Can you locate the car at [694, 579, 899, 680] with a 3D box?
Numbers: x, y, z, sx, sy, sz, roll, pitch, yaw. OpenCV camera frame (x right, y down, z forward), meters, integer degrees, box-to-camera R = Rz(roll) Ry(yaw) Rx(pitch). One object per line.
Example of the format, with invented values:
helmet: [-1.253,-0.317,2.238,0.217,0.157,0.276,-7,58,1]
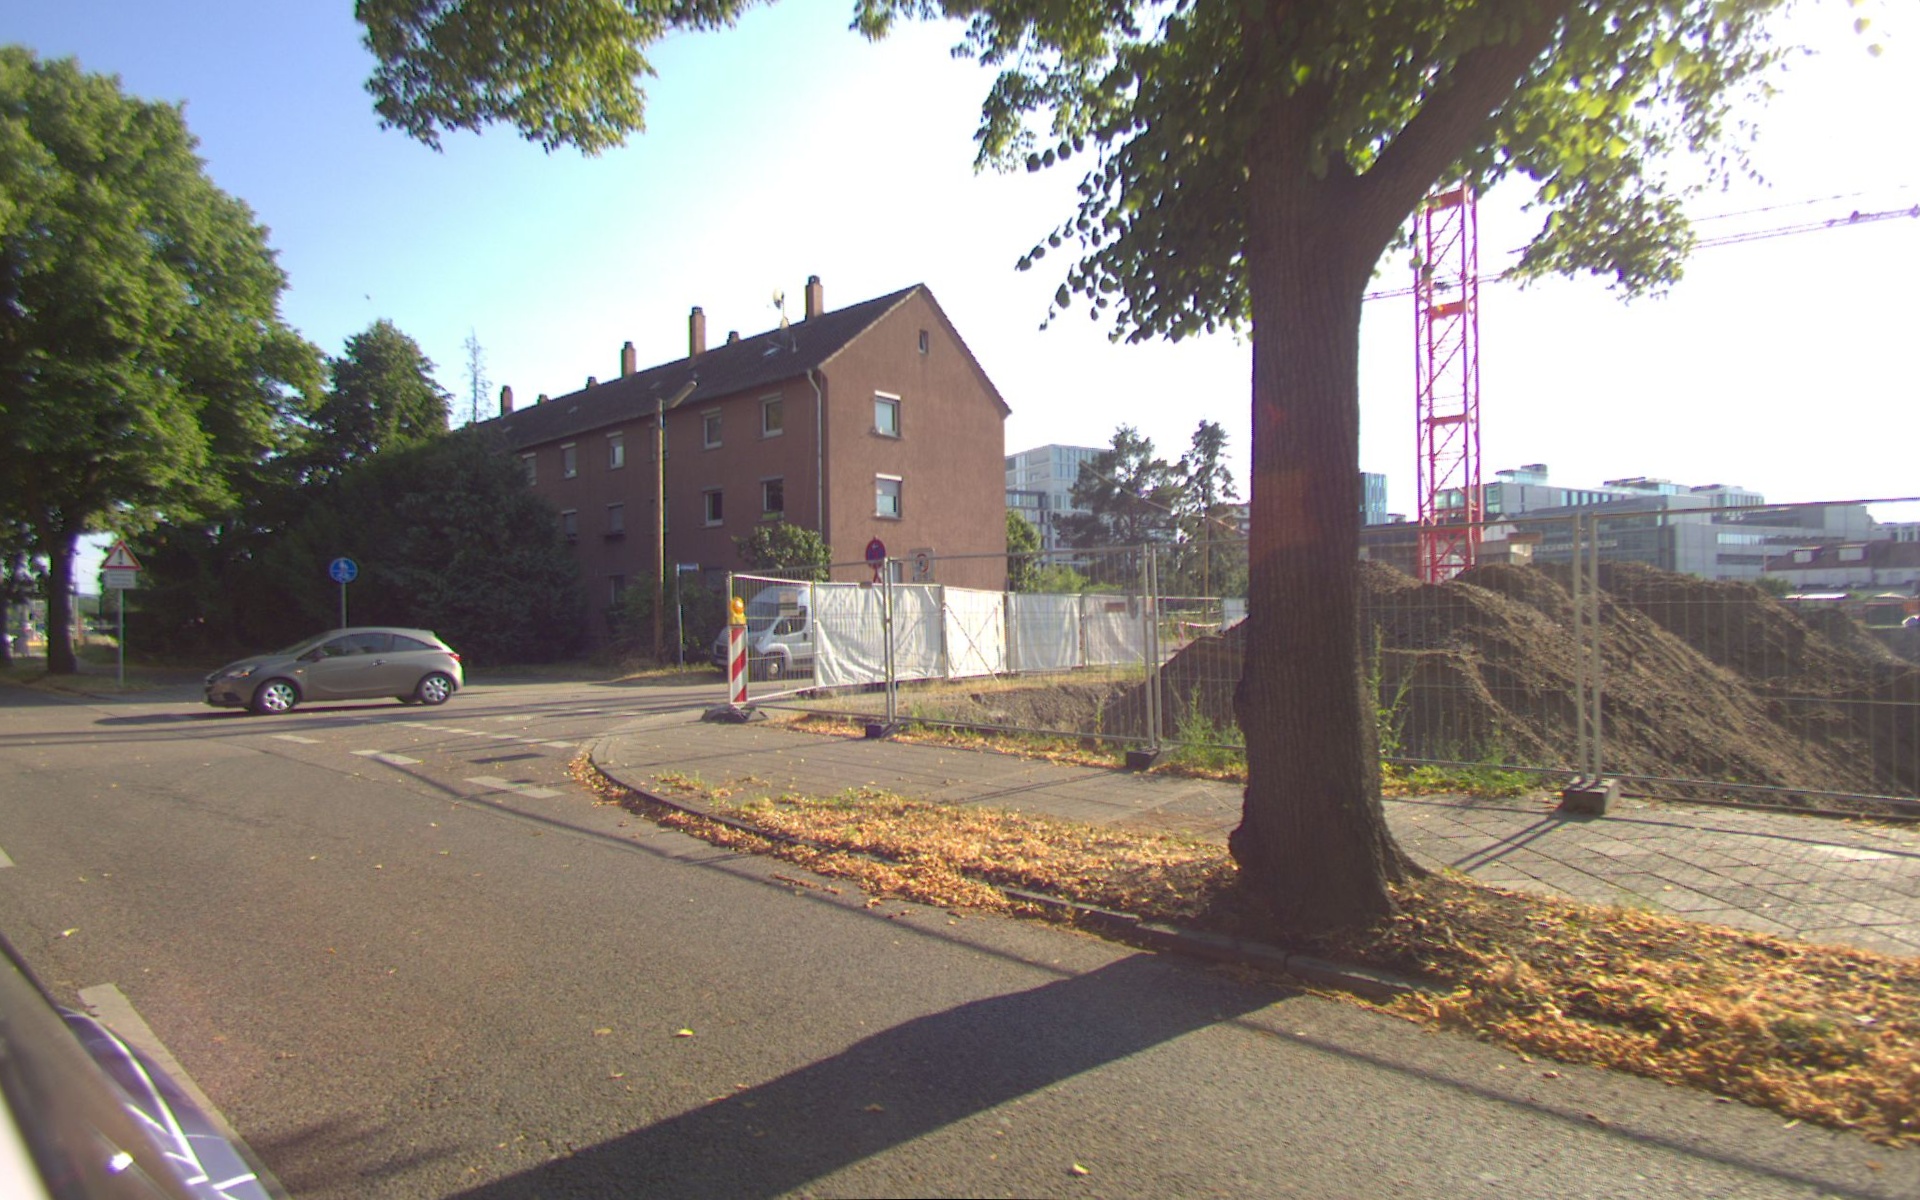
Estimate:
car: [-4.425,0.845,28.105,2.170,2.486,5.247,3,-1,44]

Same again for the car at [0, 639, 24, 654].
car: [-91.878,4.434,95.677,2.085,1.394,4.546,-1,-1,28]

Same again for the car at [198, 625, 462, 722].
car: [-11.240,1.236,18.204,3.798,1.484,1.653,0,-1,-43]

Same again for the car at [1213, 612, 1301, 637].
car: [16.603,1.391,56.681,4.363,1.352,1.971,-2,-2,44]

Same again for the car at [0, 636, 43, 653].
car: [-88.841,4.194,94.518,1.991,1.542,4.226,-1,-3,28]
